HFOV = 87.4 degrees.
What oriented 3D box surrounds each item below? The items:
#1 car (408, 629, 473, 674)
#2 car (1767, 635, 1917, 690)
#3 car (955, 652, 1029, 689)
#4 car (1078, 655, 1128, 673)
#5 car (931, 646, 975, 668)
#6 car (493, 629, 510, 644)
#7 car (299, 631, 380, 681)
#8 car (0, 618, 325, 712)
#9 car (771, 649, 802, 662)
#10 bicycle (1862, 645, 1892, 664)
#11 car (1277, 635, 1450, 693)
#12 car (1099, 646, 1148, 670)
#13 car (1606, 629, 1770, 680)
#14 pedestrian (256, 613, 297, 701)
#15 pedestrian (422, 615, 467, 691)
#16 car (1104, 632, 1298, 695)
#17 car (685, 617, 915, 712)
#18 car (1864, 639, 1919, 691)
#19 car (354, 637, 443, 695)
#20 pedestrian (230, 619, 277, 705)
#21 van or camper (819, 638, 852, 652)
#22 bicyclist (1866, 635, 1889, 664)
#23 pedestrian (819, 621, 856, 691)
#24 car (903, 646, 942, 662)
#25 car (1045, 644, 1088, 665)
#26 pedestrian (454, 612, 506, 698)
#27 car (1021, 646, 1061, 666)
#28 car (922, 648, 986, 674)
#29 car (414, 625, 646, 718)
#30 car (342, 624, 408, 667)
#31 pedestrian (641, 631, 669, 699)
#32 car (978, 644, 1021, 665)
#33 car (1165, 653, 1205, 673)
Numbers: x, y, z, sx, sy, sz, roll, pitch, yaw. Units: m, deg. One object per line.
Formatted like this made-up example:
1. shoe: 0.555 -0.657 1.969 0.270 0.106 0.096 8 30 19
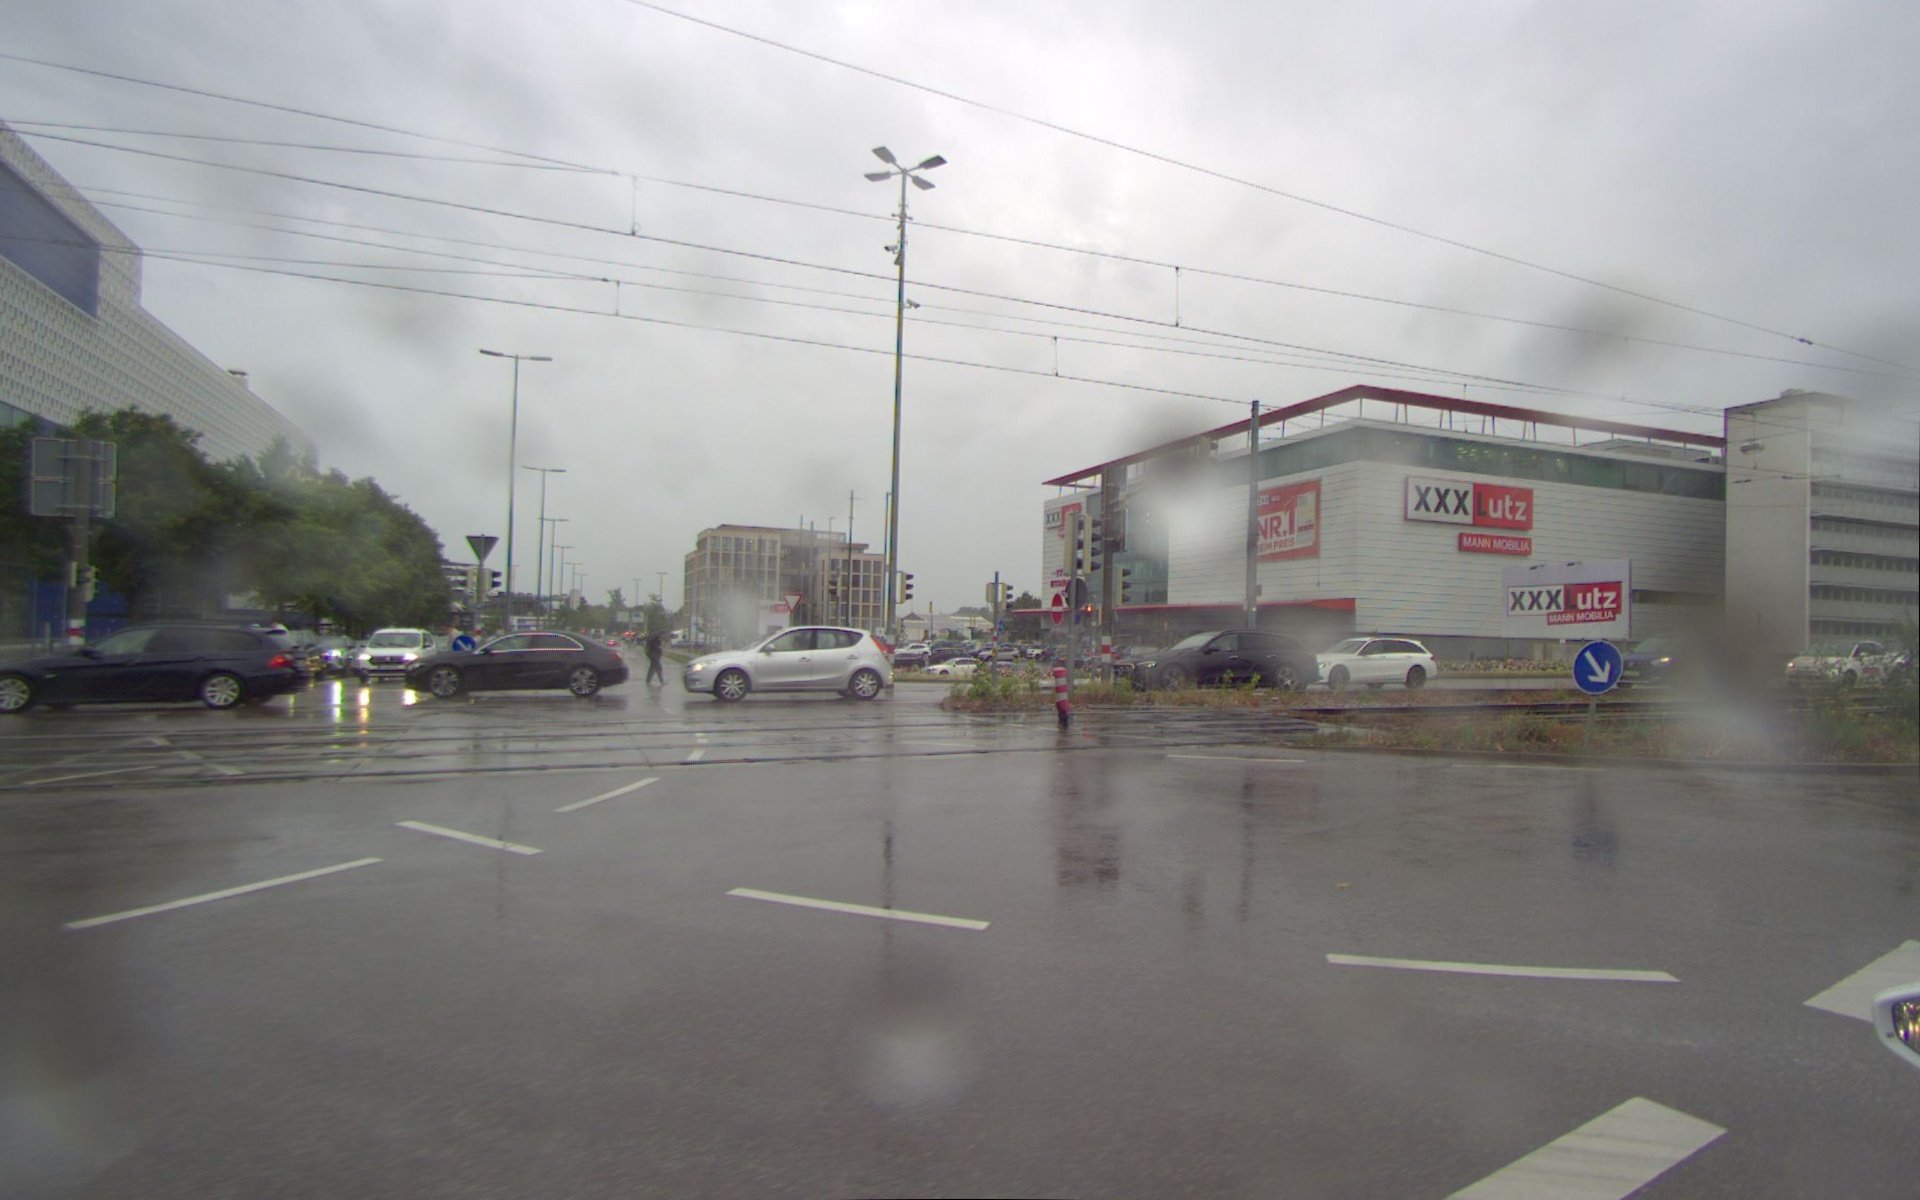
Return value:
1. car: -20.824 2.022 40.395 1.792 1.561 4.361 0 1 -20
2. car: 27.483 1.908 31.320 3.983 1.556 1.711 0 1 -18
3. car: 1.935 4.204 60.586 3.947 2.040 1.987 1 1 -26
4. car: 11.183 5.007 78.576 3.675 1.281 1.542 2 0 -26
5. car: -0.660 5.396 94.607 3.784 1.930 1.811 2 0 -27
6. car: -69.069 5.485 151.333 1.970 2.040 3.980 2 0 -21
7. car: -22.979 2.043 37.355 1.733 1.639 4.000 2 0 -20
8. car: -13.092 1.012 16.563 4.134 1.385 1.581 0 1 -18
9. car: -21.106 6.731 122.109 3.512 1.426 1.779 2 0 -20
10. bicycle: 52.788 3.128 57.827 1.534 1.029 0.667 1 1 -23
11. car: 11.610 1.786 28.904 4.643 1.455 1.809 0 1 -22
12. car: 15.081 5.343 92.699 3.947 2.040 1.987 1 1 -26
13. car: 20.604 1.498 28.435 4.396 1.266 1.709 0 1 -22
14. pedestrian: -17.276 1.431 25.387 0.620 2.164 0.572 1 1 9
15. pedestrian: -14.379 1.464 28.045 0.842 2.040 0.784 2 0 -6
16. car: 5.452 1.393 22.775 3.983 1.266 1.711 0 1 -18
17. car: -3.246 1.227 20.268 4.360 1.731 1.710 0 1 -19
18. car: 38.536 2.593 39.968 4.722 1.927 1.989 2 0 -23
19. car: -17.805 2.036 32.049 1.792 1.561 4.442 0 0 -20
20. pedestrian: -17.356 1.502 24.688 0.615 2.041 0.695 1 1 9
21. van or camper: -19.889 7.240 160.972 4.930 2.141 1.773 2 0 -28
22. bicyclist: 52.824 2.836 57.829 0.780 1.611 0.670 1 1 -23
23. pedestrian: -3.691 1.669 30.151 0.848 2.040 0.691 2 0 -30
24. car: -4.220 6.056 112.294 3.950 1.582 1.755 2 0 -23
25. car: 11.114 5.641 105.043 3.947 2.040 1.987 1 1 -26
26. pedestrian: -13.289 1.499 27.846 0.972 2.274 0.920 3 1 -9
27. car: 9.061 6.290 112.506 3.947 2.040 1.987 1 1 -26
28. car: -0.405 4.198 69.036 3.947 1.626 1.794 2 1 -26
29. car: -9.175 1.541 21.840 4.428 1.817 1.805 2 0 -18
30. car: -25.287 1.944 43.539 1.733 1.639 4.000 2 0 -20
31. pedestrian: -9.357 1.992 30.841 0.657 2.040 0.768 2 0 -8
32. car: 3.950 5.381 99.682 3.856 1.930 1.811 2 0 -27
33. car: 25.108 7.015 111.942 3.947 2.040 1.987 2 0 -26
